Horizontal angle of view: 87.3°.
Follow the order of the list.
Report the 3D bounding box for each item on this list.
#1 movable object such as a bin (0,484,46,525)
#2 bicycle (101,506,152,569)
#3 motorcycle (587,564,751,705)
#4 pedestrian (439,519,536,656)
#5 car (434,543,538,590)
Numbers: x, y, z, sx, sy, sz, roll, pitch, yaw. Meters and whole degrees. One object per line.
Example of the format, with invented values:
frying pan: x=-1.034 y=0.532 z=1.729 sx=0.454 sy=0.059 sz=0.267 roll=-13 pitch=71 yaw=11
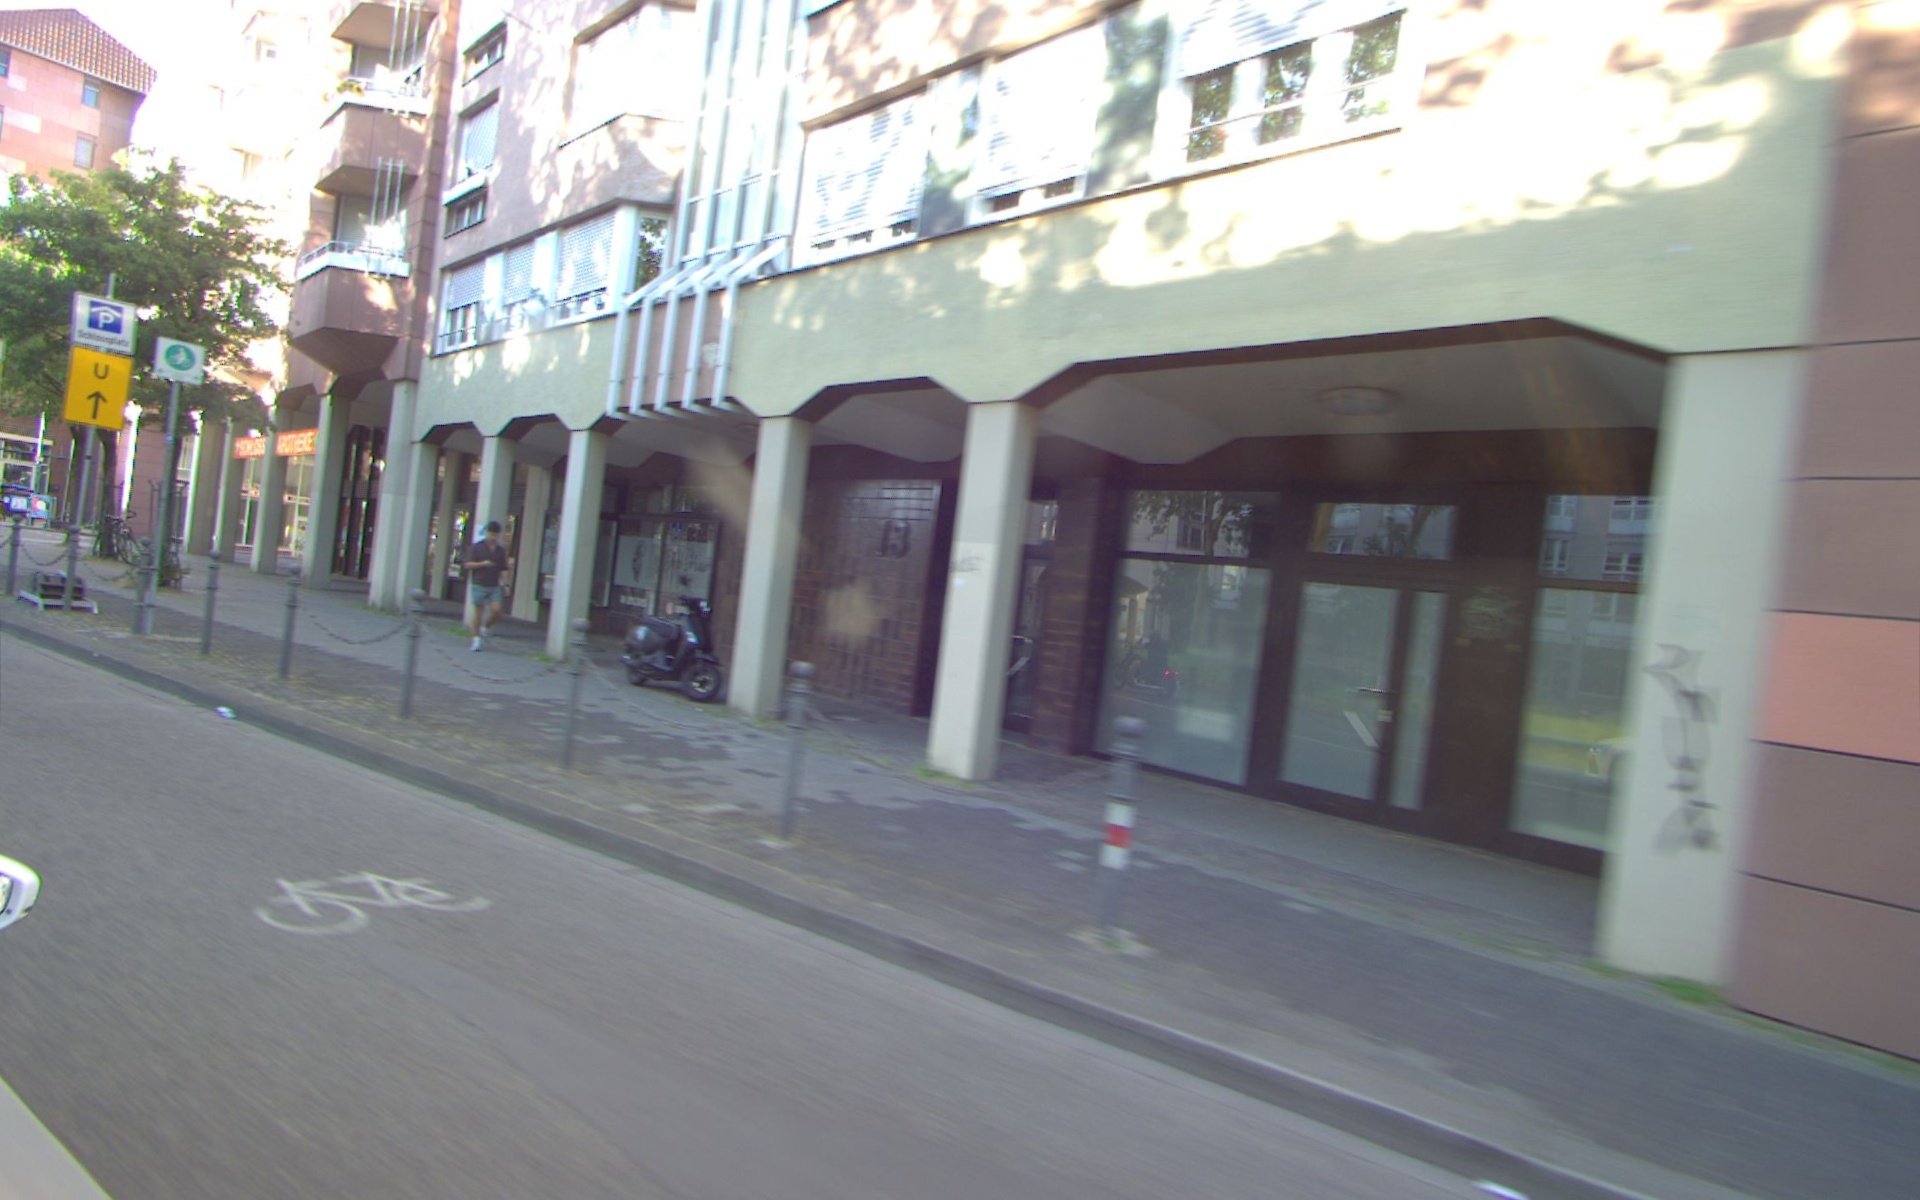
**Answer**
movable object such as a bin: x=-39.226 y=-3.984 z=41.994 sx=0.860 sy=1.500 sz=1.407 roll=7 pitch=0 yaw=44
bicycle: x=-18.546 y=-1.394 z=22.365 sx=0.620 sy=1.240 sz=1.902 roll=7 pitch=0 yaw=-44
motorcycle: x=-3.457 y=0.381 z=11.851 sx=2.056 sy=1.389 sz=0.488 roll=7 pitch=0 yaw=33
pedestrian: x=-6.527 y=-0.170 z=13.908 sx=0.825 sy=1.760 sz=0.780 roll=7 pitch=0 yaw=41
car: x=-23.500 y=-1.627 z=49.990 sx=1.776 sy=1.742 sz=4.180 roll=7 pitch=-1 yaw=41
